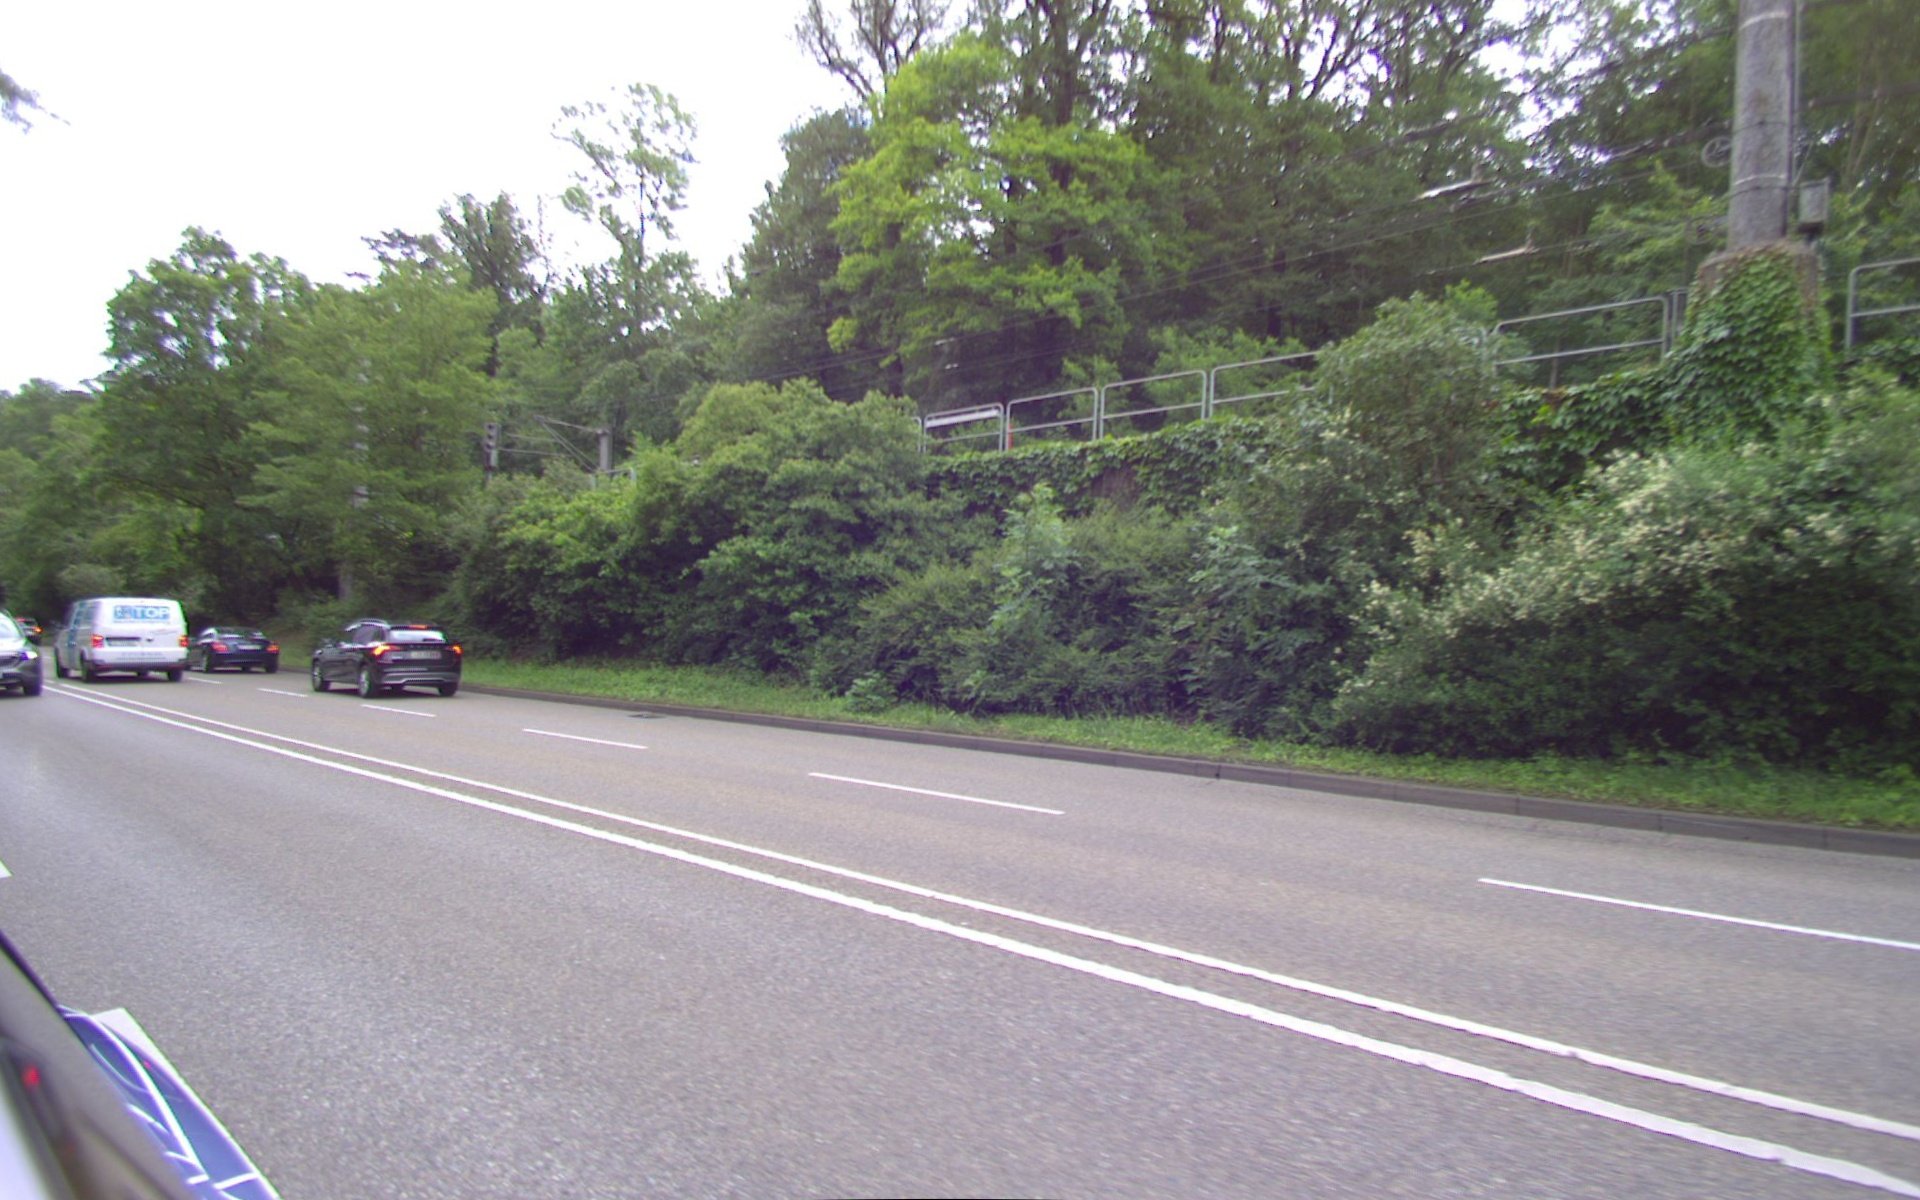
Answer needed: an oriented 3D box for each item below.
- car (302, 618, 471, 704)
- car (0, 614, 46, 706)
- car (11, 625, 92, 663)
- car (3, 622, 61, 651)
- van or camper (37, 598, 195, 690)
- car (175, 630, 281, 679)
[{"bbox_3d":[-11.931,1.225,20.959,4.066,1.608,1.718,-2,-4,41],"label":"car"},{"bbox_3d":[-19.239,1.119,19.533,4.189,1.675,1.847,-1,-1,40],"label":"car"},{"bbox_3d":[-37.290,1.792,41.508,4.527,1.479,1.894,-2,-3,41],"label":"car"},{"bbox_3d":[-54.037,2.121,58.903,4.183,1.624,1.774,-1,-3,38],"label":"car"},{"bbox_3d":[-20.850,1.062,24.922,5.363,2.029,1.973,-1,-4,40],"label":"van or camper"},{"bbox_3d":[-21.370,1.563,29.492,3.998,1.322,1.625,-1,-3,41],"label":"car"}]
